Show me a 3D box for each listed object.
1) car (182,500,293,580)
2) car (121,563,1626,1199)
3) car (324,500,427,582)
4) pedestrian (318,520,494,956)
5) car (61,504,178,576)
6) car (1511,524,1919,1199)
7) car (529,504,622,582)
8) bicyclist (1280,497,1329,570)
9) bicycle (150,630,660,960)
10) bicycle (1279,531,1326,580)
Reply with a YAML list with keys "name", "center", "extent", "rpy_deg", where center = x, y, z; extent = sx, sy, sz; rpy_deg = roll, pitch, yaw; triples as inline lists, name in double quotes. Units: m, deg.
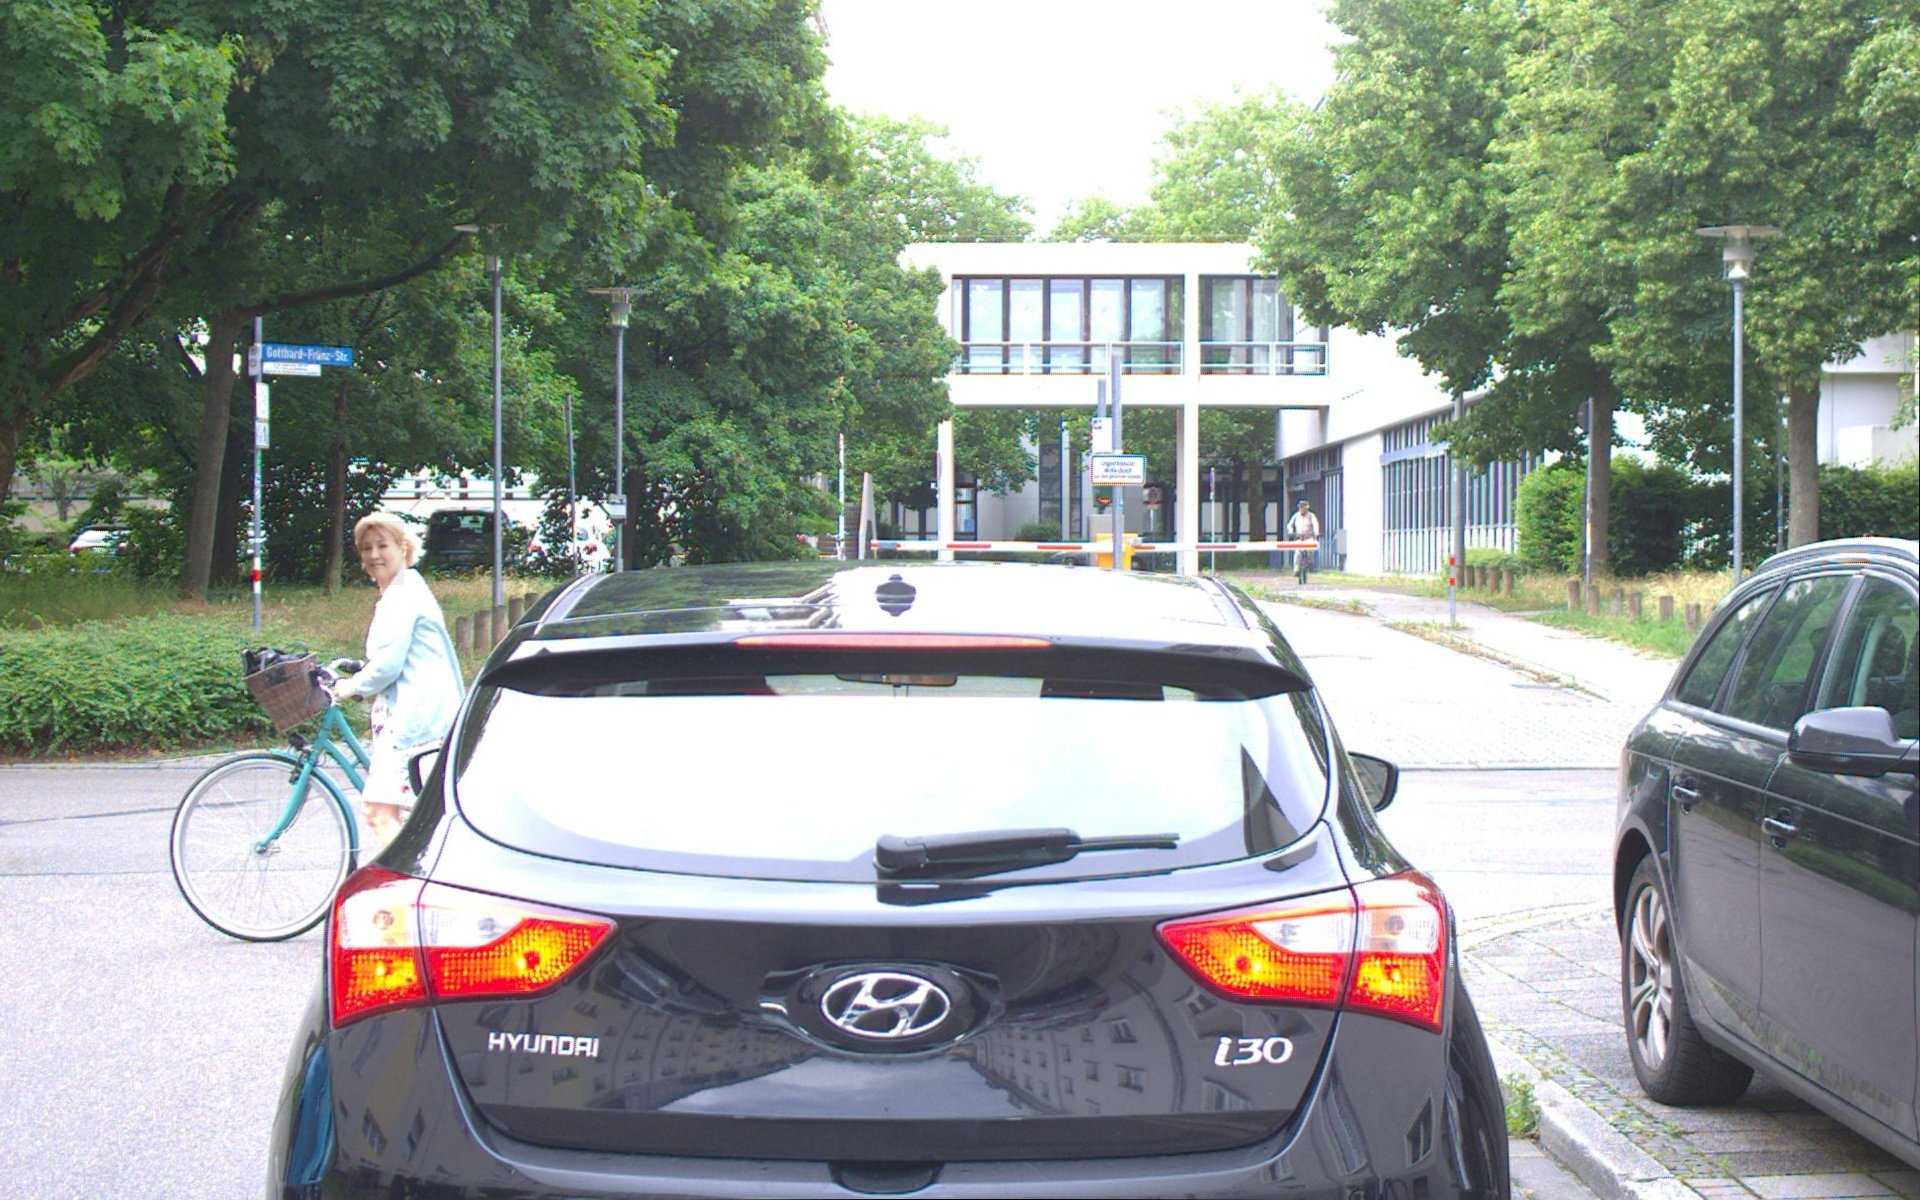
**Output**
- name: "car"
  center: [-16.534, -1.358, 78.851]
  extent: [1.993, 1.722, 4.000]
  rpy_deg: [0, -1, -4]
- name: "car"
  center: [-0.193, 0.675, 6.146]
  extent: [1.846, 1.457, 3.828]
  rpy_deg: [0, 1, -3]
- name: "car"
  center: [-13.430, -1.335, 79.178]
  extent: [1.993, 1.788, 4.000]
  rpy_deg: [0, 0, -4]
- name: "pedestrian"
  center: [-2.015, 0.490, 12.554]
  extent: [0.565, 1.544, 0.448]
  rpy_deg: [-2, 2, -7]
- name: "car"
  center: [-19.256, -1.380, 78.920]
  extent: [1.993, 1.612, 4.001]
  rpy_deg: [0, 1, -4]
- name: "car"
  center: [2.602, 0.566, 7.427]
  extent: [1.860, 1.457, 4.726]
  rpy_deg: [-1, 1, -2]
- name: "car"
  center: [-8.834, -1.296, 79.239]
  extent: [1.993, 1.756, 4.001]
  rpy_deg: [0, 0, -4]
- name: "bicyclist"
  center: [7.765, -1.512, 77.559]
  extent: [1.017, 1.639, 0.923]
  rpy_deg: [0, 2, 1]
- name: "bicycle"
  center: [-2.071, 0.714, 12.906]
  extent: [1.812, 1.115, 0.538]
  rpy_deg: [-2, 2, -8]
- name: "bicycle"
  center: [7.729, -1.016, 77.626]
  extent: [0.866, 1.071, 2.142]
  rpy_deg: [0, 2, 1]
